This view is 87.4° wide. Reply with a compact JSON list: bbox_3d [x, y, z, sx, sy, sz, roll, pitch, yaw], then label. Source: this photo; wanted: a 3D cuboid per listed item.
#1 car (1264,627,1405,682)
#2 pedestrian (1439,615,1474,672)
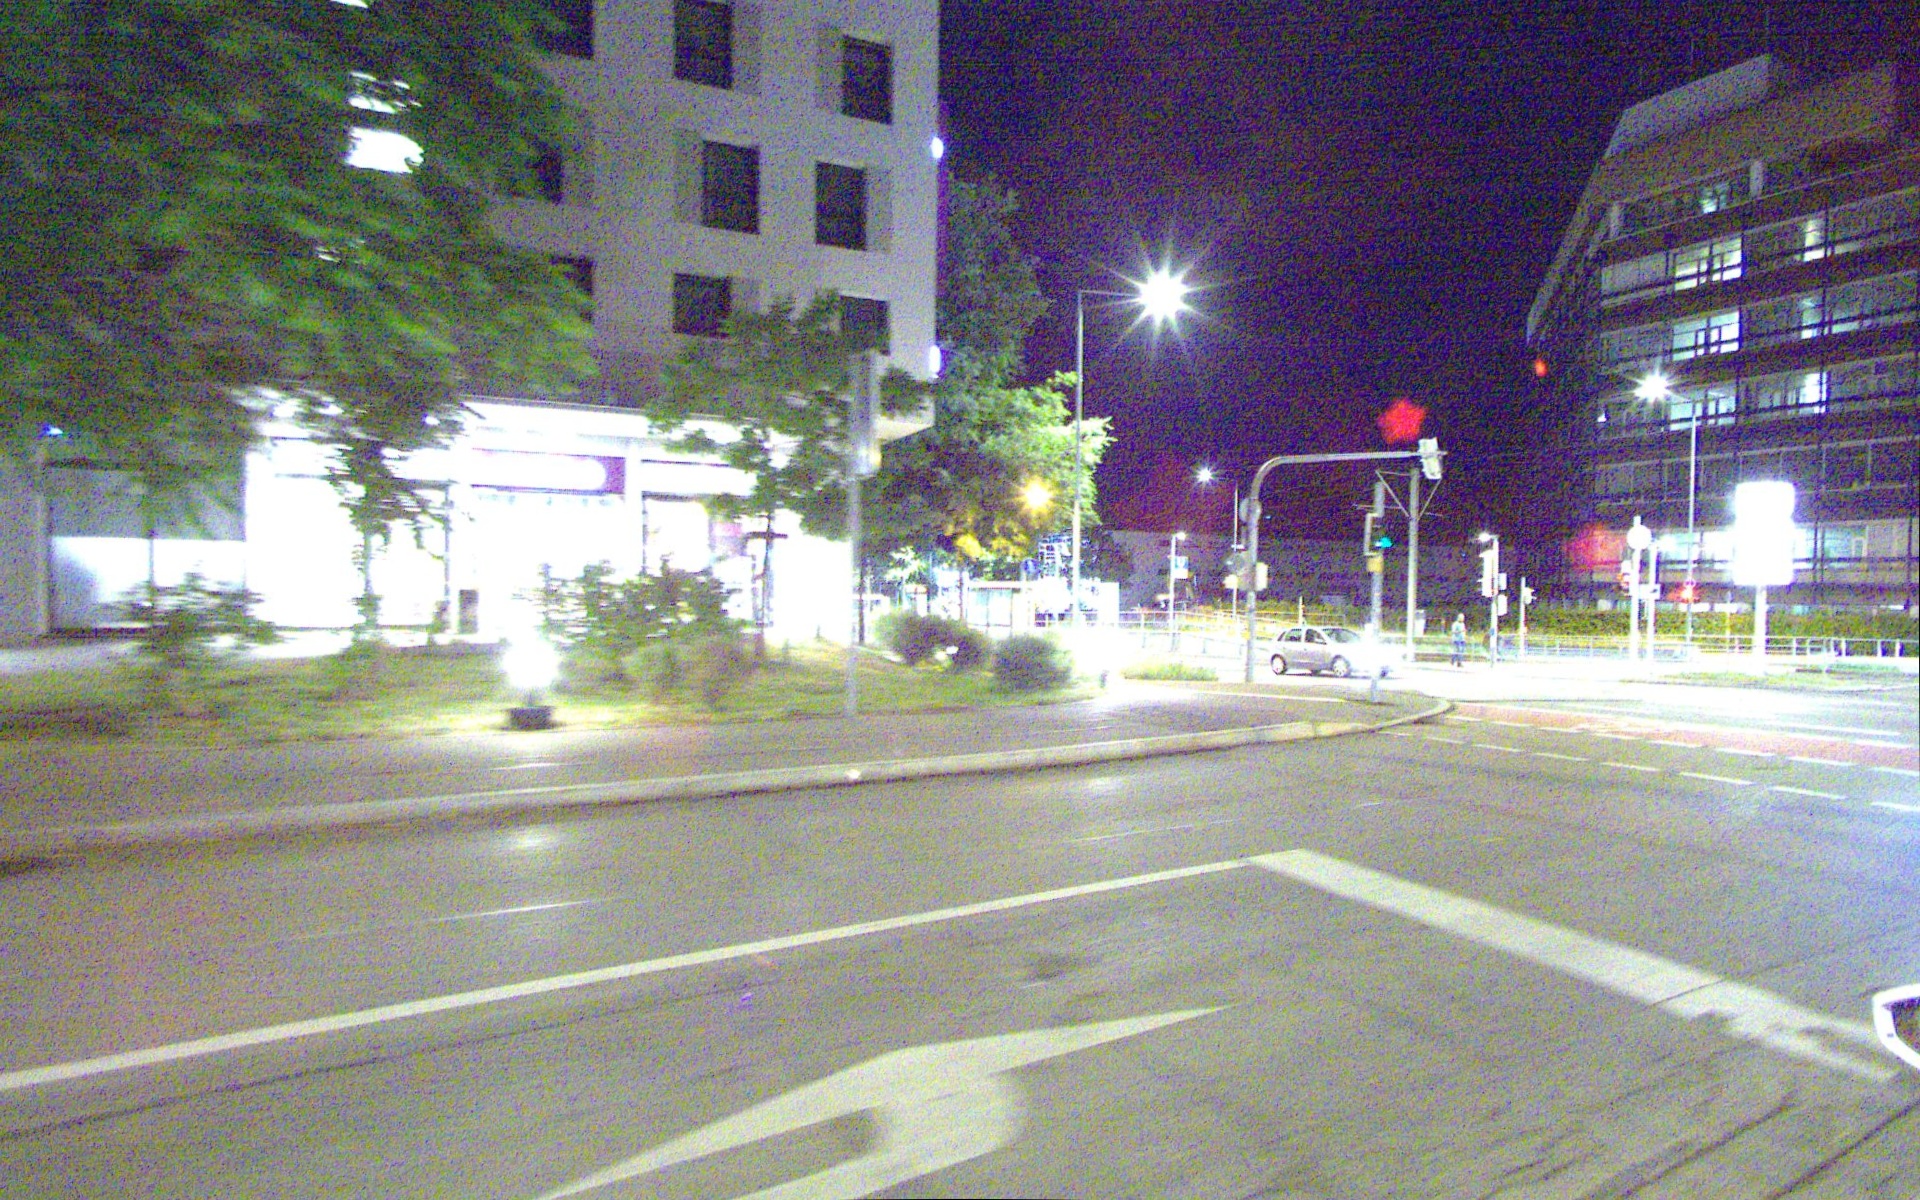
[{"bbox_3d":[10.559,1.514,28.585,1.620,1.439,3.677,0,-2,-25],"label":"car"},{"bbox_3d":[15.692,1.376,31.751,0.669,1.745,0.703,2,0,-22],"label":"pedestrian"}]
